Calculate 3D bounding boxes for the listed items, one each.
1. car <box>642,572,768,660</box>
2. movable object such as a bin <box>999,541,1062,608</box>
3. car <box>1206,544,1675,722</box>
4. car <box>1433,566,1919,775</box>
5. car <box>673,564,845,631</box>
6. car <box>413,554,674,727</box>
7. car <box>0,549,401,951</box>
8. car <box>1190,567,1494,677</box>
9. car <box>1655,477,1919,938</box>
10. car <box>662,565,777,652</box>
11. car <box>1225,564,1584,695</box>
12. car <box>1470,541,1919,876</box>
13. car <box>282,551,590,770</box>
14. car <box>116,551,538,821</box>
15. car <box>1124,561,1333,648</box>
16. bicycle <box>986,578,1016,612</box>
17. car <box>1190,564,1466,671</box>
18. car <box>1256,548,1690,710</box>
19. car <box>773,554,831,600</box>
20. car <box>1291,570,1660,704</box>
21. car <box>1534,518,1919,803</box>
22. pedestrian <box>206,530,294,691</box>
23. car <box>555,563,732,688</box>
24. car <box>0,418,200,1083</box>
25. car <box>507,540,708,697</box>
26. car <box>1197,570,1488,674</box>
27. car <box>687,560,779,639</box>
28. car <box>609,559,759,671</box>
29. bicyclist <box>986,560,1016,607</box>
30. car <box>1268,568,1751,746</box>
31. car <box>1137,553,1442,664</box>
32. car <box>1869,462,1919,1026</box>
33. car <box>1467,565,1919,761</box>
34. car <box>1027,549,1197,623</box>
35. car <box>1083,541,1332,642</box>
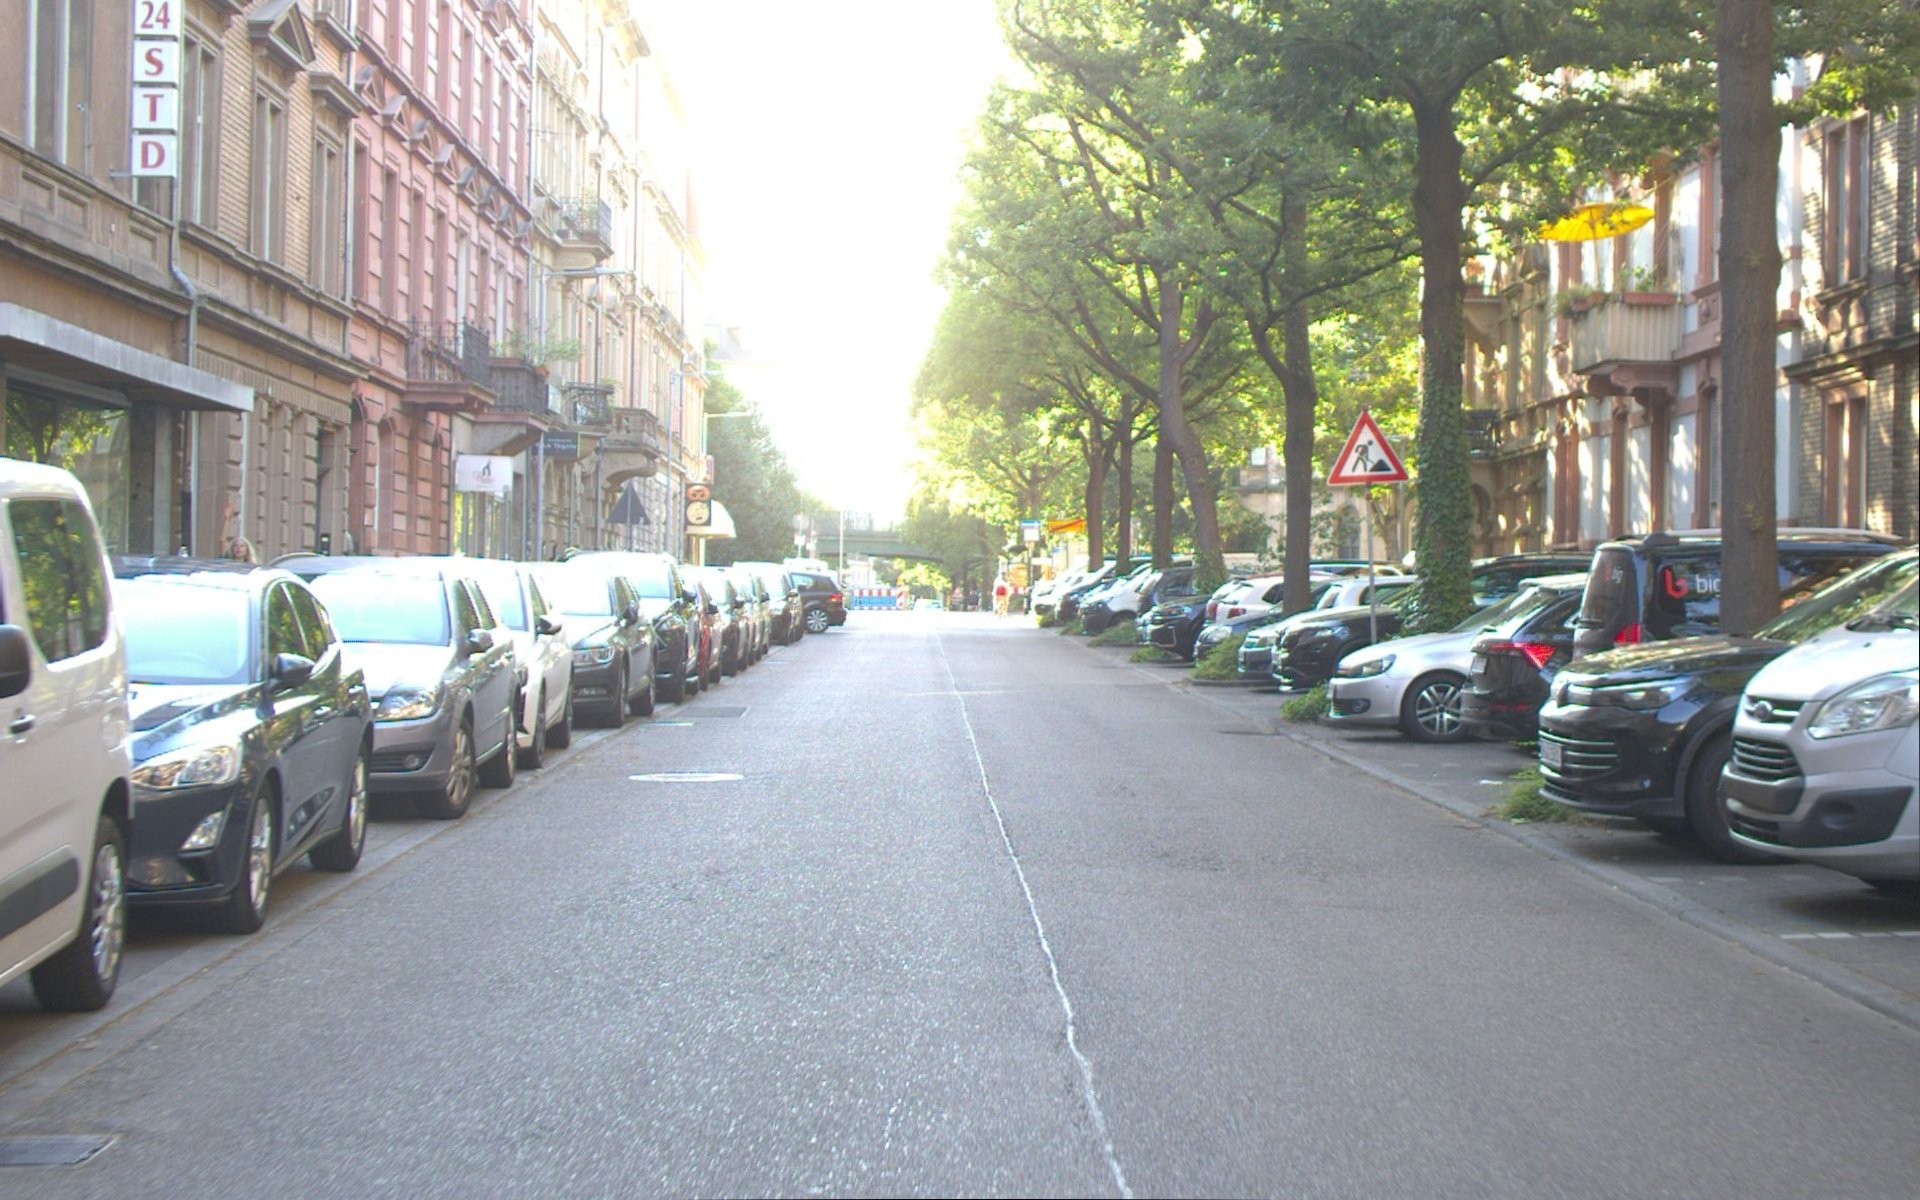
[{"bbox_3d":[-4.023,0.229,54.720,1.705,1.318,4.101,1,1,0],"label":"car"},{"bbox_3d":[2.950,-1.038,143.407,1.995,2.690,3.108,1,0,13],"label":"movable object such as a bin"},{"bbox_3d":[4.793,0.338,34.788,4.476,1.650,1.891,1,-1,1],"label":"car"},{"bbox_3d":[5.758,0.493,25.628,4.144,1.450,1.937,-1,1,-1],"label":"car"},{"bbox_3d":[-4.806,-0.067,82.056,3.986,1.524,1.826,1,0,-6],"label":"car"},{"bbox_3d":[-3.810,0.327,32.150,1.862,1.467,4.489,1,1,0],"label":"car"},{"bbox_3d":[-3.597,0.527,14.829,1.746,1.468,4.245,1,1,-1],"label":"car"},{"bbox_3d":[5.294,0.294,47.952,3.987,1.383,1.678,-2,0,-1],"label":"car"},{"bbox_3d":[5.866,0.372,15.484,4.919,1.895,2.176,-2,1,-4],"label":"car"},{"bbox_3d":[-4.123,0.123,59.398,1.705,1.434,3.959,1,1,0],"label":"car"},{"bbox_3d":[5.595,0.356,43.571,4.222,1.531,1.801,1,1,-3],"label":"car"},{"bbox_3d":[5.413,0.494,18.462,4.919,1.627,2.079,-2,1,-4],"label":"car"},{"bbox_3d":[-3.813,0.392,25.608,1.756,1.467,4.088,1,1,-2],"label":"car"},{"bbox_3d":[-3.749,0.451,21.132,1.886,1.439,4.543,1,1,-2],"label":"car"},{"bbox_3d":[5.322,0.088,68.375,3.883,1.643,1.725,1,0,-5],"label":"car"},{"bbox_3d":[1.235,-0.146,103.402,0.803,0.965,2.108,2,0,-1],"label":"bicycle"},{"bbox_3d":[5.670,0.257,53.261,3.986,1.585,1.783,1,0,-4],"label":"car"},{"bbox_3d":[5.649,0.330,38.220,4.475,1.650,1.891,1,-1,-2],"label":"car"},{"bbox_3d":[-5.051,-0.741,110.178,1.764,1.432,4.301,1,0,-2],"label":"car"},{"bbox_3d":[6.081,0.422,40.907,4.100,1.464,1.801,1,1,1],"label":"car"},{"bbox_3d":[6.066,0.395,22.977,4.125,1.782,1.945,1,1,1],"label":"car"},{"bbox_3d":[-7.314,0.104,35.453,0.695,1.625,1.018,1,0,-2],"label":"pedestrian"},{"bbox_3d":[-3.922,0.282,43.201,1.821,1.421,4.314,3,1,-1],"label":"car"},{"bbox_3d":[-3.551,0.387,9.759,1.842,1.827,4.607,2,1,-2],"label":"car"},{"bbox_3d":[-3.916,0.179,38.780,1.821,1.595,4.314,3,1,-1],"label":"car"},{"bbox_3d":[5.604,0.313,50.665,3.986,1.457,1.783,1,0,-4],"label":"car"},{"bbox_3d":[-4.362,-0.026,66.509,1.582,1.468,4.000,1,0,-1],"label":"car"},{"bbox_3d":[-3.949,0.190,49.843,1.821,1.472,4.424,3,1,-1],"label":"car"},{"bbox_3d":[1.243,-0.484,103.401,0.803,1.379,0.985,2,0,-1],"label":"bicyclist"},{"bbox_3d":[4.806,0.483,30.458,3.987,1.451,1.687,1,0,0],"label":"car"},{"bbox_3d":[5.287,0.120,55.563,4.644,1.697,1.882,-1,1,-4],"label":"car"},{"bbox_3d":[5.619,0.468,11.712,4.662,1.884,1.908,-1,1,-22],"label":"car"},{"bbox_3d":[6.310,0.503,28.131,3.986,1.490,1.687,1,0,-3],"label":"car"},{"bbox_3d":[4.536,-0.418,103.227,4.973,2.089,2.106,1,0,0],"label":"car"},{"bbox_3d":[5.219,-0.167,72.956,5.092,1.933,2.158,1,-3,0],"label":"car"}]
